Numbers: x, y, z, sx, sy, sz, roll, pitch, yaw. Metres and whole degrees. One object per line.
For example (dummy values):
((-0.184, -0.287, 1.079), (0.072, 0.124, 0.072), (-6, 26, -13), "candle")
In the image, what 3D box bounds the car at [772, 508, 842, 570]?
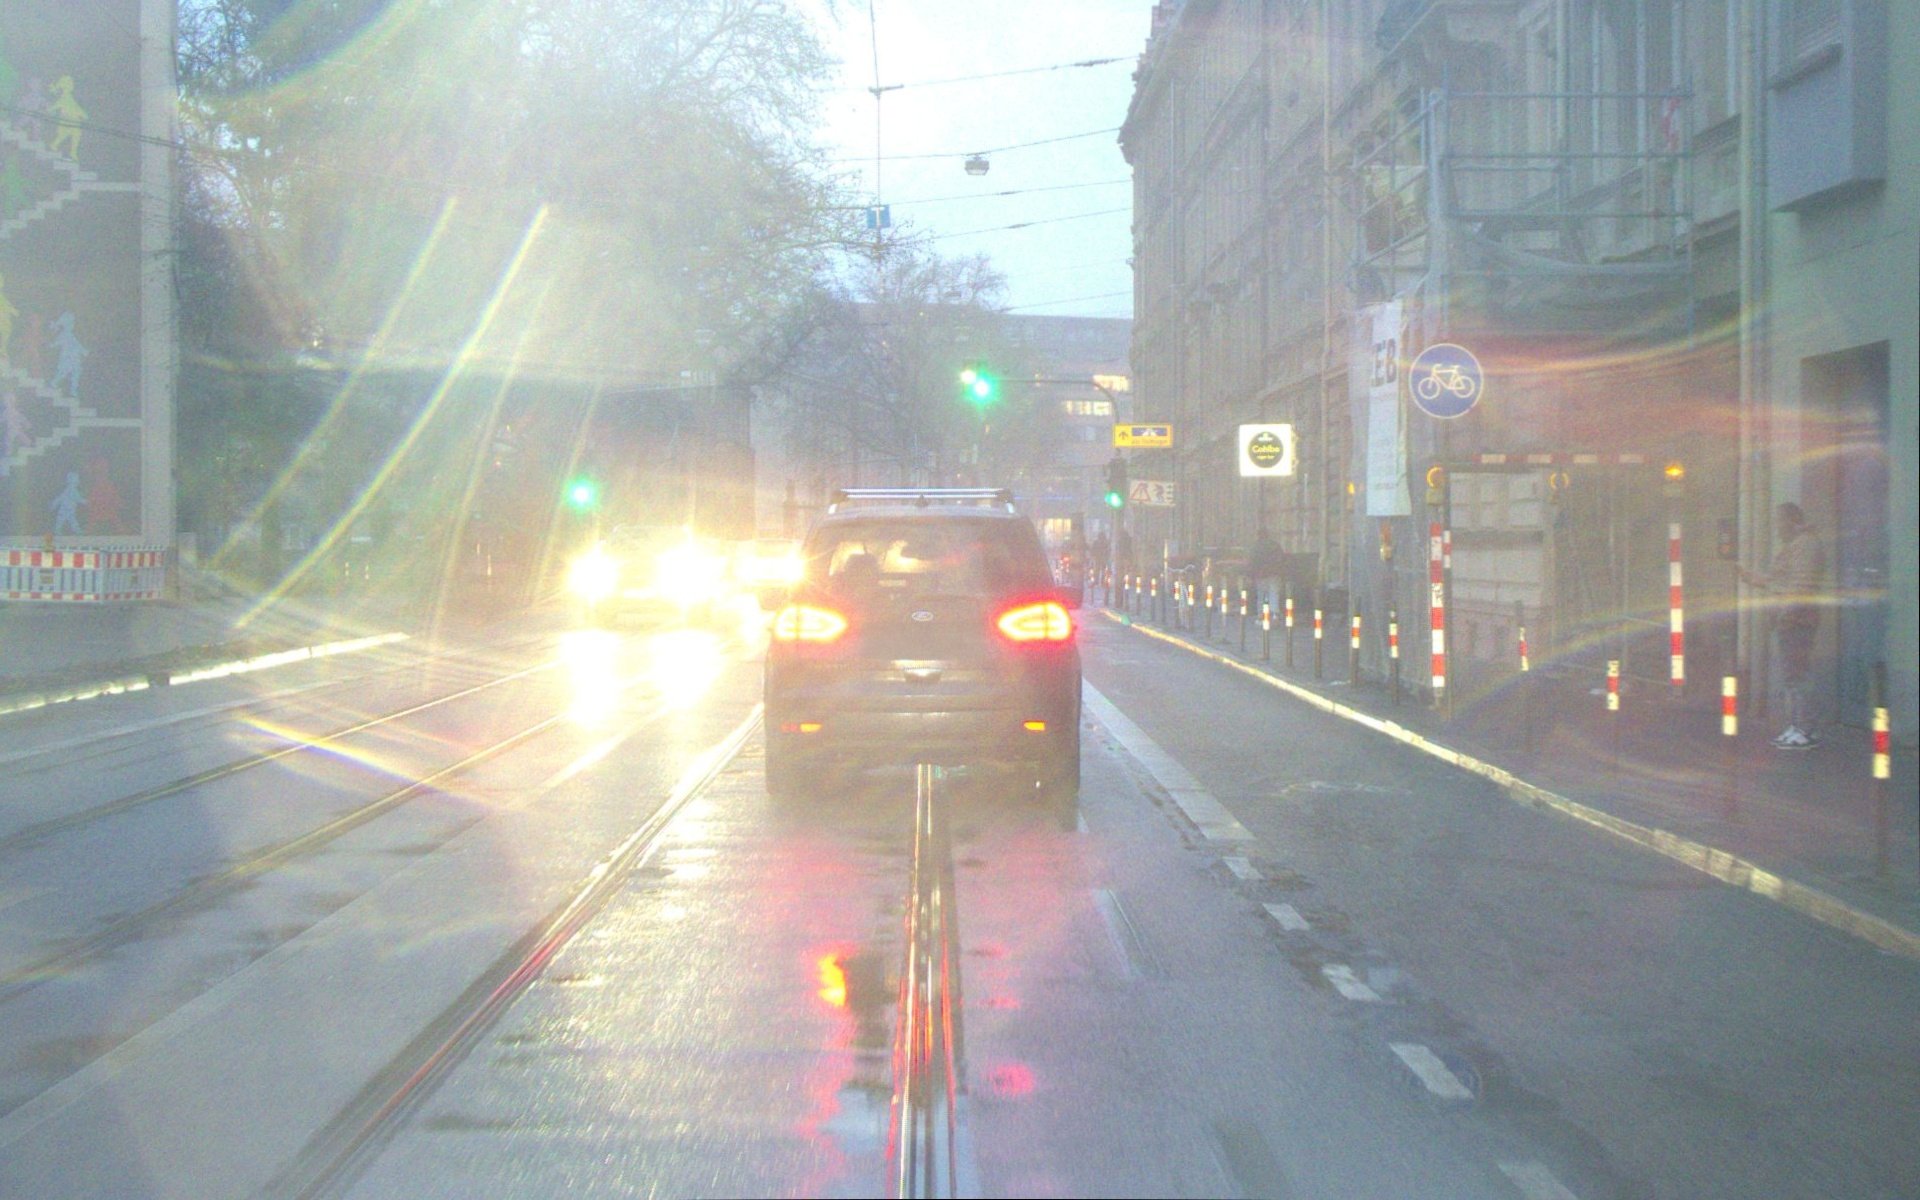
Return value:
((-5.967, -2.364, 134.388), (2.446, 2.339, 5.845), (-1, 1, 0), "car")

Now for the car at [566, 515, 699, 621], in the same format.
((-5.522, -0.575, 58.478), (1.875, 1.704, 4.761), (-1, 1, -1), "car")

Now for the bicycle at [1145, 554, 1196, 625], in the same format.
((3.510, -0.188, 57.417), (0.684, 1.152, 2.188), (1, 1, 0), "bicycle")

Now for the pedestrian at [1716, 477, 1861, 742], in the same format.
((5.786, 0.061, 24.034), (0.598, 1.812, 0.776), (1, 1, -28), "pedestrian")

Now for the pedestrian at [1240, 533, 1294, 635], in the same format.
((5.193, -0.279, 58.090), (0.835, 1.695, 0.953), (1, 0, 8), "pedestrian")

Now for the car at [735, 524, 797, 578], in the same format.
((-5.402, -1.382, 96.080), (1.530, 1.476, 3.561), (0, 1, 0), "car")

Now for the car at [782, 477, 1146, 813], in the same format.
((0.103, 0.213, 20.939), (1.994, 1.835, 4.000), (0, 1, 2), "car")
